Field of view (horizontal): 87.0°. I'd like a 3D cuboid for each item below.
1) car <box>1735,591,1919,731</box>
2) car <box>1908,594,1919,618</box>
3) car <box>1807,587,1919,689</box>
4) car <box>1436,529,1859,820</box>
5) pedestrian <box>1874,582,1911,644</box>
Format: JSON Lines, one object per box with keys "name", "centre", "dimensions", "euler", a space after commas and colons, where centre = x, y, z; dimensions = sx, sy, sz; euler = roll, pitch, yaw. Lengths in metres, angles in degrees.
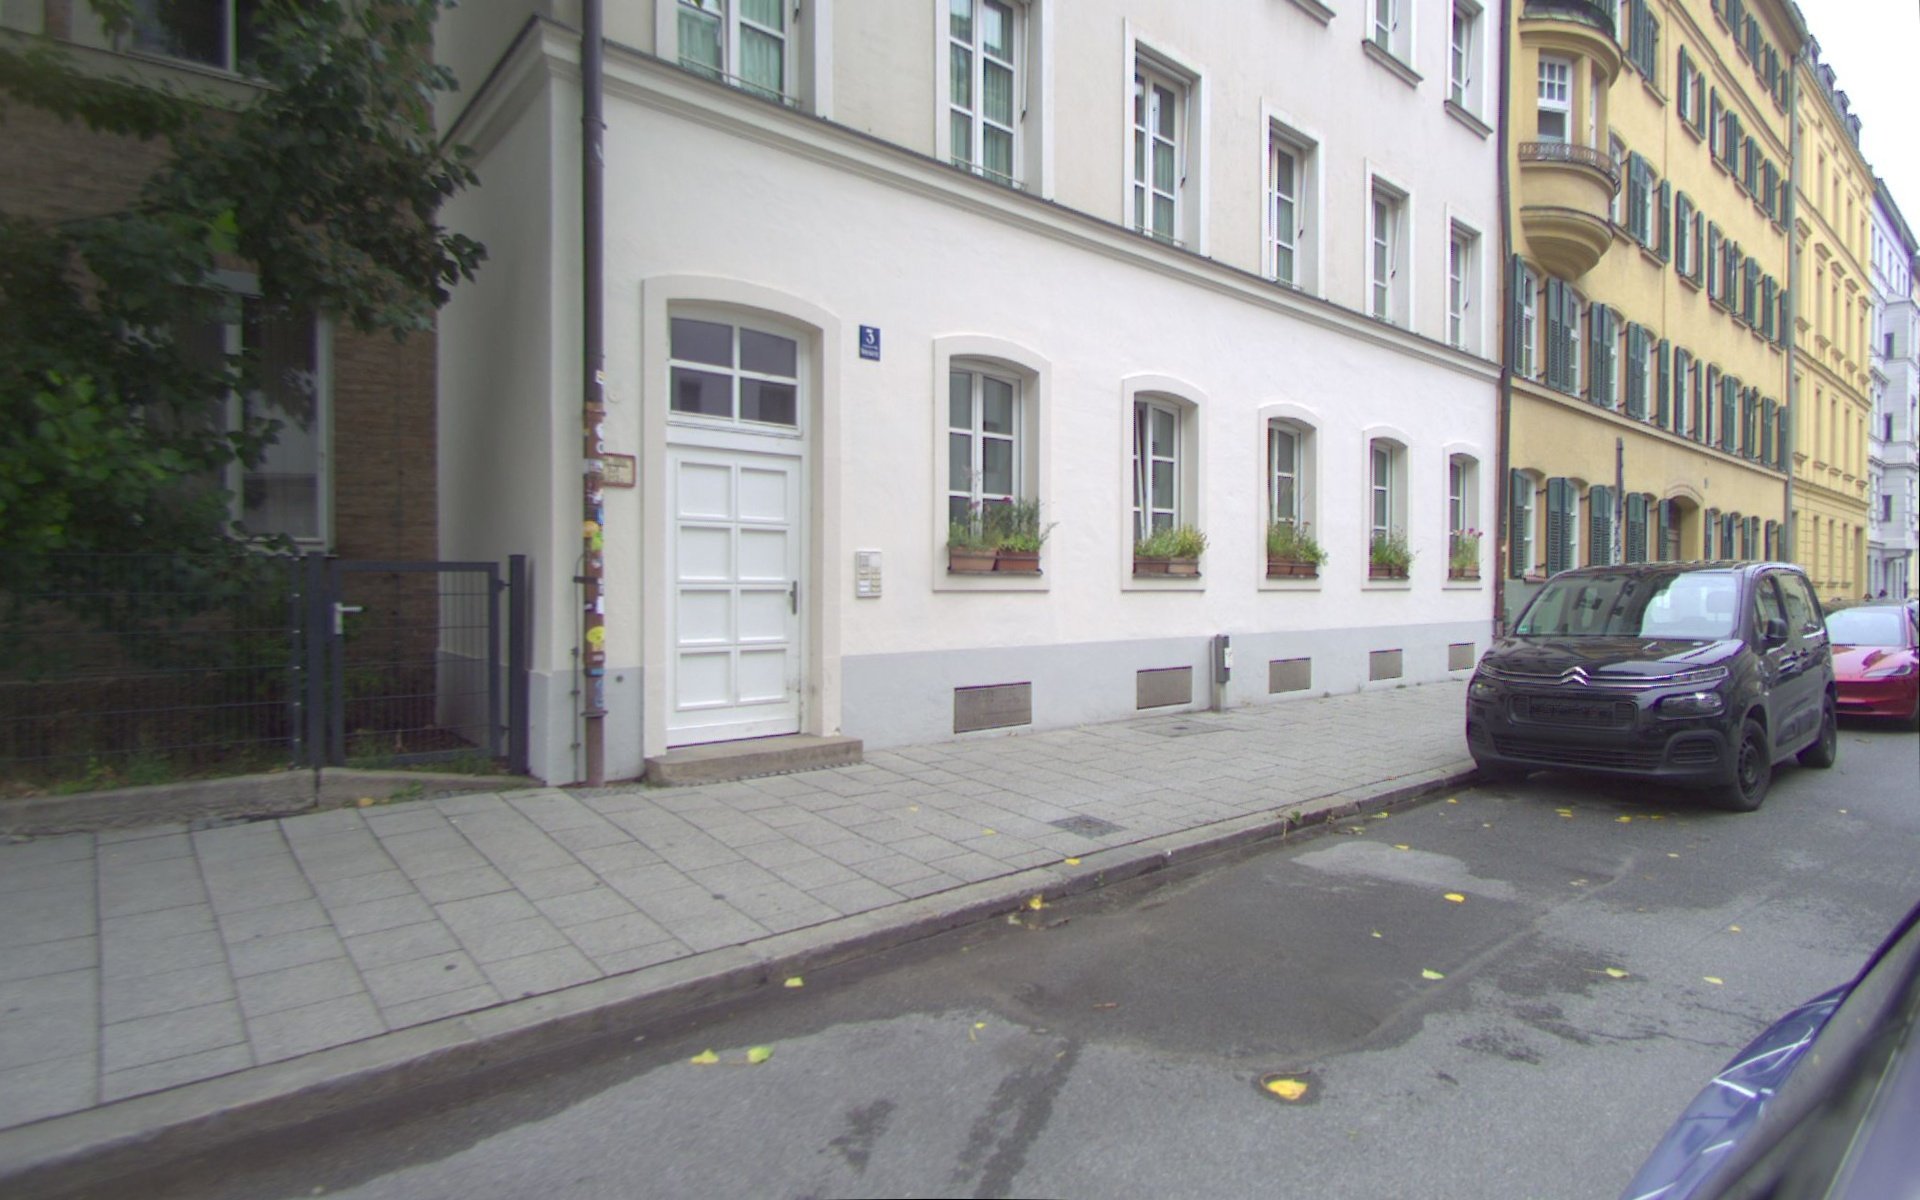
{"name": "car", "centre": [11.238, 0.620, 12.638], "dimensions": [4.381, 1.441, 1.716], "euler": [-1, 1, -42]}
{"name": "car", "centre": [63.884, 0.434, 65.168], "dimensions": [1.683, 1.585, 3.992], "euler": [0, 1, -43]}
{"name": "car", "centre": [15.301, 0.554, 16.437], "dimensions": [3.930, 1.482, 1.749], "euler": [0, 1, -41]}
{"name": "car", "centre": [5.788, 0.446, 8.327], "dimensions": [4.128, 1.799, 1.849], "euler": [-1, -1, -41]}
{"name": "pedestrian", "centre": [25.973, 0.356, 28.192], "dimensions": [0.881, 1.658, 0.598], "euler": [0, 3, -43]}
